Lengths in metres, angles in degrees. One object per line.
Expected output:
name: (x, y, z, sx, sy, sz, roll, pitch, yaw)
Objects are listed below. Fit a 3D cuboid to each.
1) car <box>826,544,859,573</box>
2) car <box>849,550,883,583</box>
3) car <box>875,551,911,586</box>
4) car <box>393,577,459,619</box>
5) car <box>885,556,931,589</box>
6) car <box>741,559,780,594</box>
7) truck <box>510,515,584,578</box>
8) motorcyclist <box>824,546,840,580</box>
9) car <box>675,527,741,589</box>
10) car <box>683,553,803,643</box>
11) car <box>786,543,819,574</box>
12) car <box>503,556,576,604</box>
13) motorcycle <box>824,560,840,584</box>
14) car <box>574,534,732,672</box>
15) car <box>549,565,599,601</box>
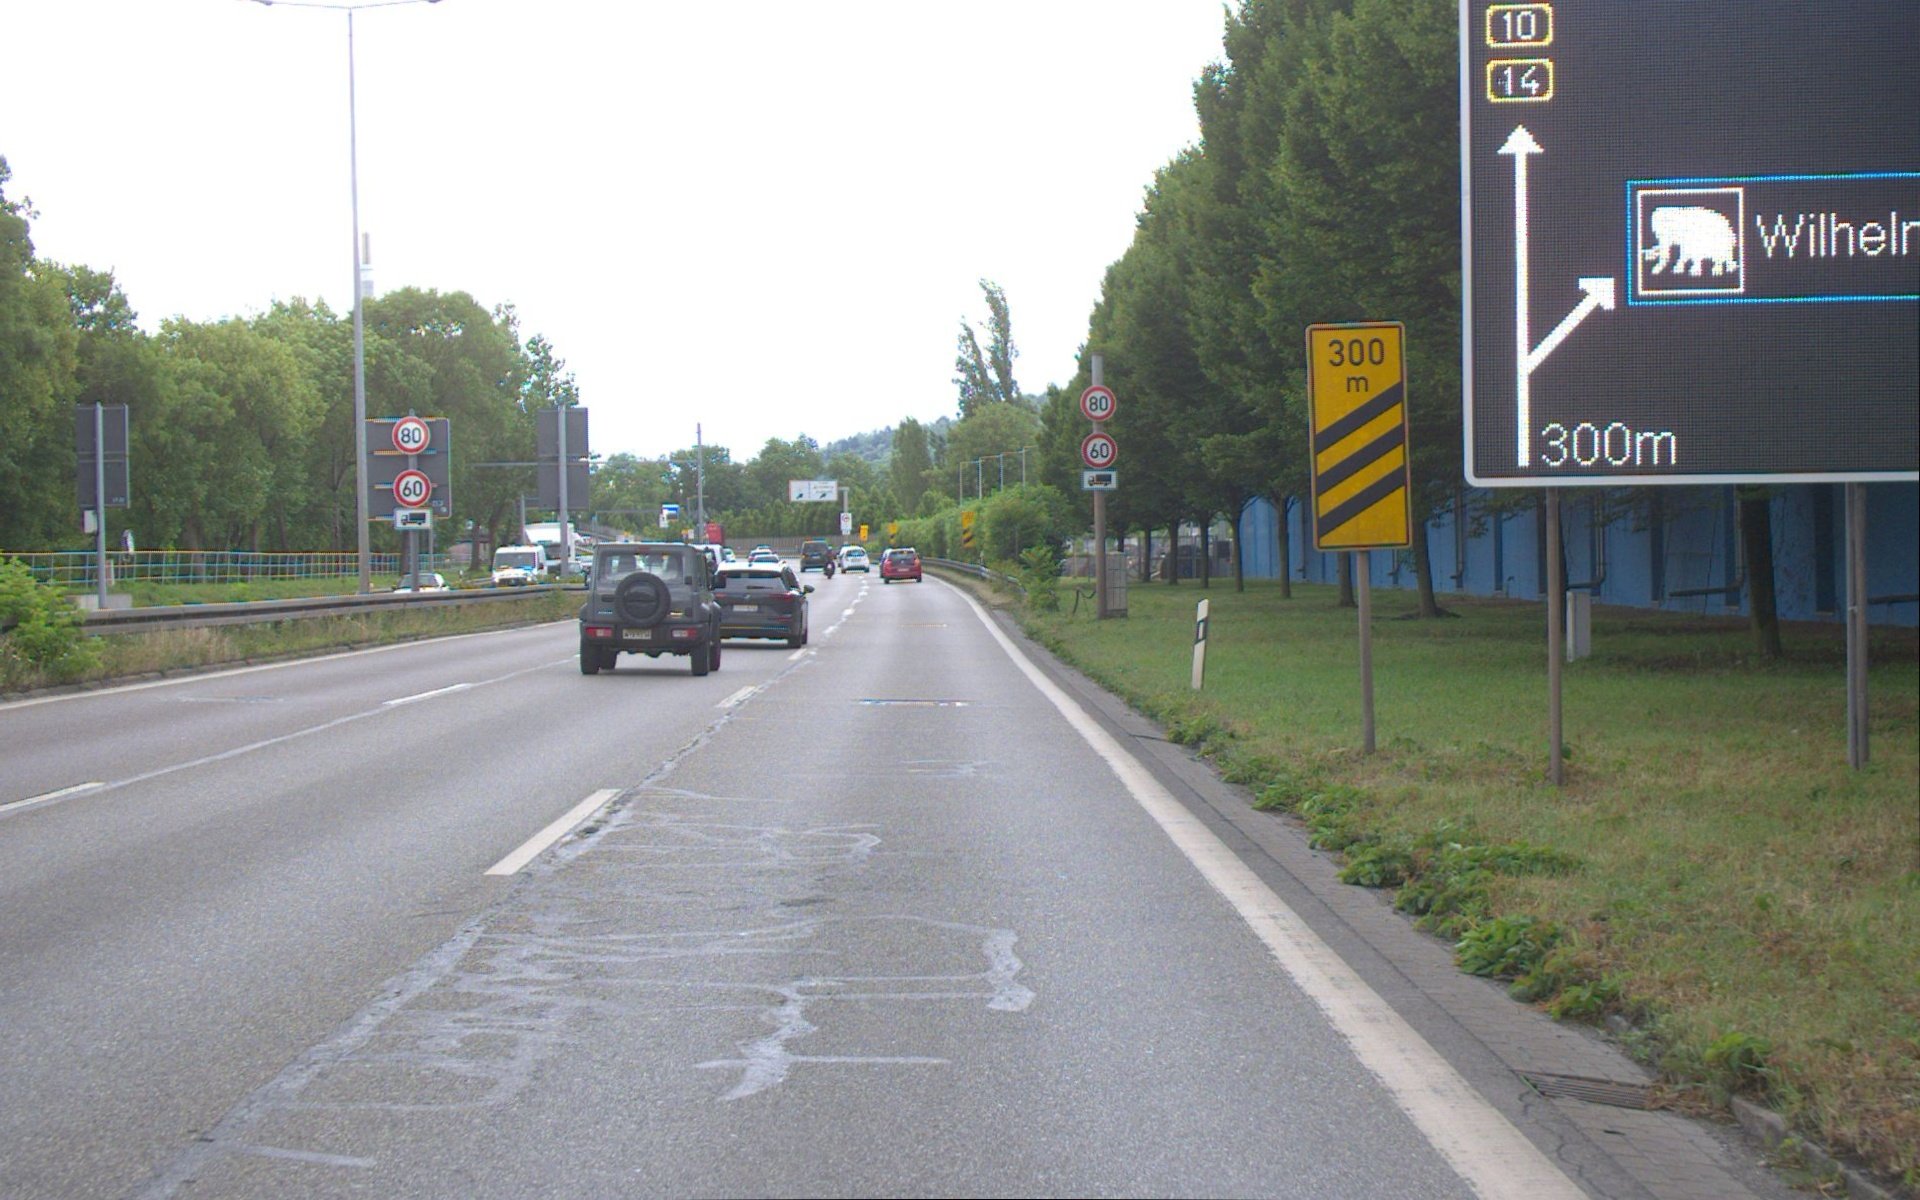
car: (-8.437, -2.969, 246.823, 2.013, 1.927, 4.900, -2, 0, 1)
car: (-5.717, -2.034, 208.672, 2.013, 1.927, 4.901, -2, 0, -2)
car: (-3.417, -1.611, 175.651, 1.697, 1.736, 4.393, -1, 0, 0)
car: (-18.231, -0.079, 117.597, 1.659, 1.393, 3.989, 0, 1, 0)
car: (-2.361, -1.231, 154.491, 1.974, 1.418, 4.901, -2, 0, -2)
car: (-10.486, -1.253, 180.900, 1.697, 1.736, 4.393, -2, 0, 0)
truck: (-24.245, -3.107, 202.054, 2.889, 3.566, 9.586, -1, 0, 1)
motorcyclist: (-6.651, -1.923, 178.568, 0.791, 1.754, 0.923, 0, 1, 0)
car: (-7.252, -1.233, 99.250, 1.697, 1.736, 4.000, 1, 1, -2)
car: (-3.681, -0.045, 59.000, 1.845, 1.418, 4.901, -2, 0, -2)
car: (-10.253, -2.694, 224.100, 2.013, 1.927, 4.901, -2, 0, -2)
car: (-17.758, -0.845, 145.452, 2.226, 1.941, 5.474, -1, 0, 2)
motorcycle: (-6.651, -1.466, 178.575, 0.791, 1.215, 2.330, 0, 1, -1)
car: (-3.967, 0.004, 44.925, 1.697, 1.680, 4.000, 2, 1, -1)
car: (-19.030, -0.828, 169.552, 1.878, 1.719, 4.146, 0, 1, 2)
